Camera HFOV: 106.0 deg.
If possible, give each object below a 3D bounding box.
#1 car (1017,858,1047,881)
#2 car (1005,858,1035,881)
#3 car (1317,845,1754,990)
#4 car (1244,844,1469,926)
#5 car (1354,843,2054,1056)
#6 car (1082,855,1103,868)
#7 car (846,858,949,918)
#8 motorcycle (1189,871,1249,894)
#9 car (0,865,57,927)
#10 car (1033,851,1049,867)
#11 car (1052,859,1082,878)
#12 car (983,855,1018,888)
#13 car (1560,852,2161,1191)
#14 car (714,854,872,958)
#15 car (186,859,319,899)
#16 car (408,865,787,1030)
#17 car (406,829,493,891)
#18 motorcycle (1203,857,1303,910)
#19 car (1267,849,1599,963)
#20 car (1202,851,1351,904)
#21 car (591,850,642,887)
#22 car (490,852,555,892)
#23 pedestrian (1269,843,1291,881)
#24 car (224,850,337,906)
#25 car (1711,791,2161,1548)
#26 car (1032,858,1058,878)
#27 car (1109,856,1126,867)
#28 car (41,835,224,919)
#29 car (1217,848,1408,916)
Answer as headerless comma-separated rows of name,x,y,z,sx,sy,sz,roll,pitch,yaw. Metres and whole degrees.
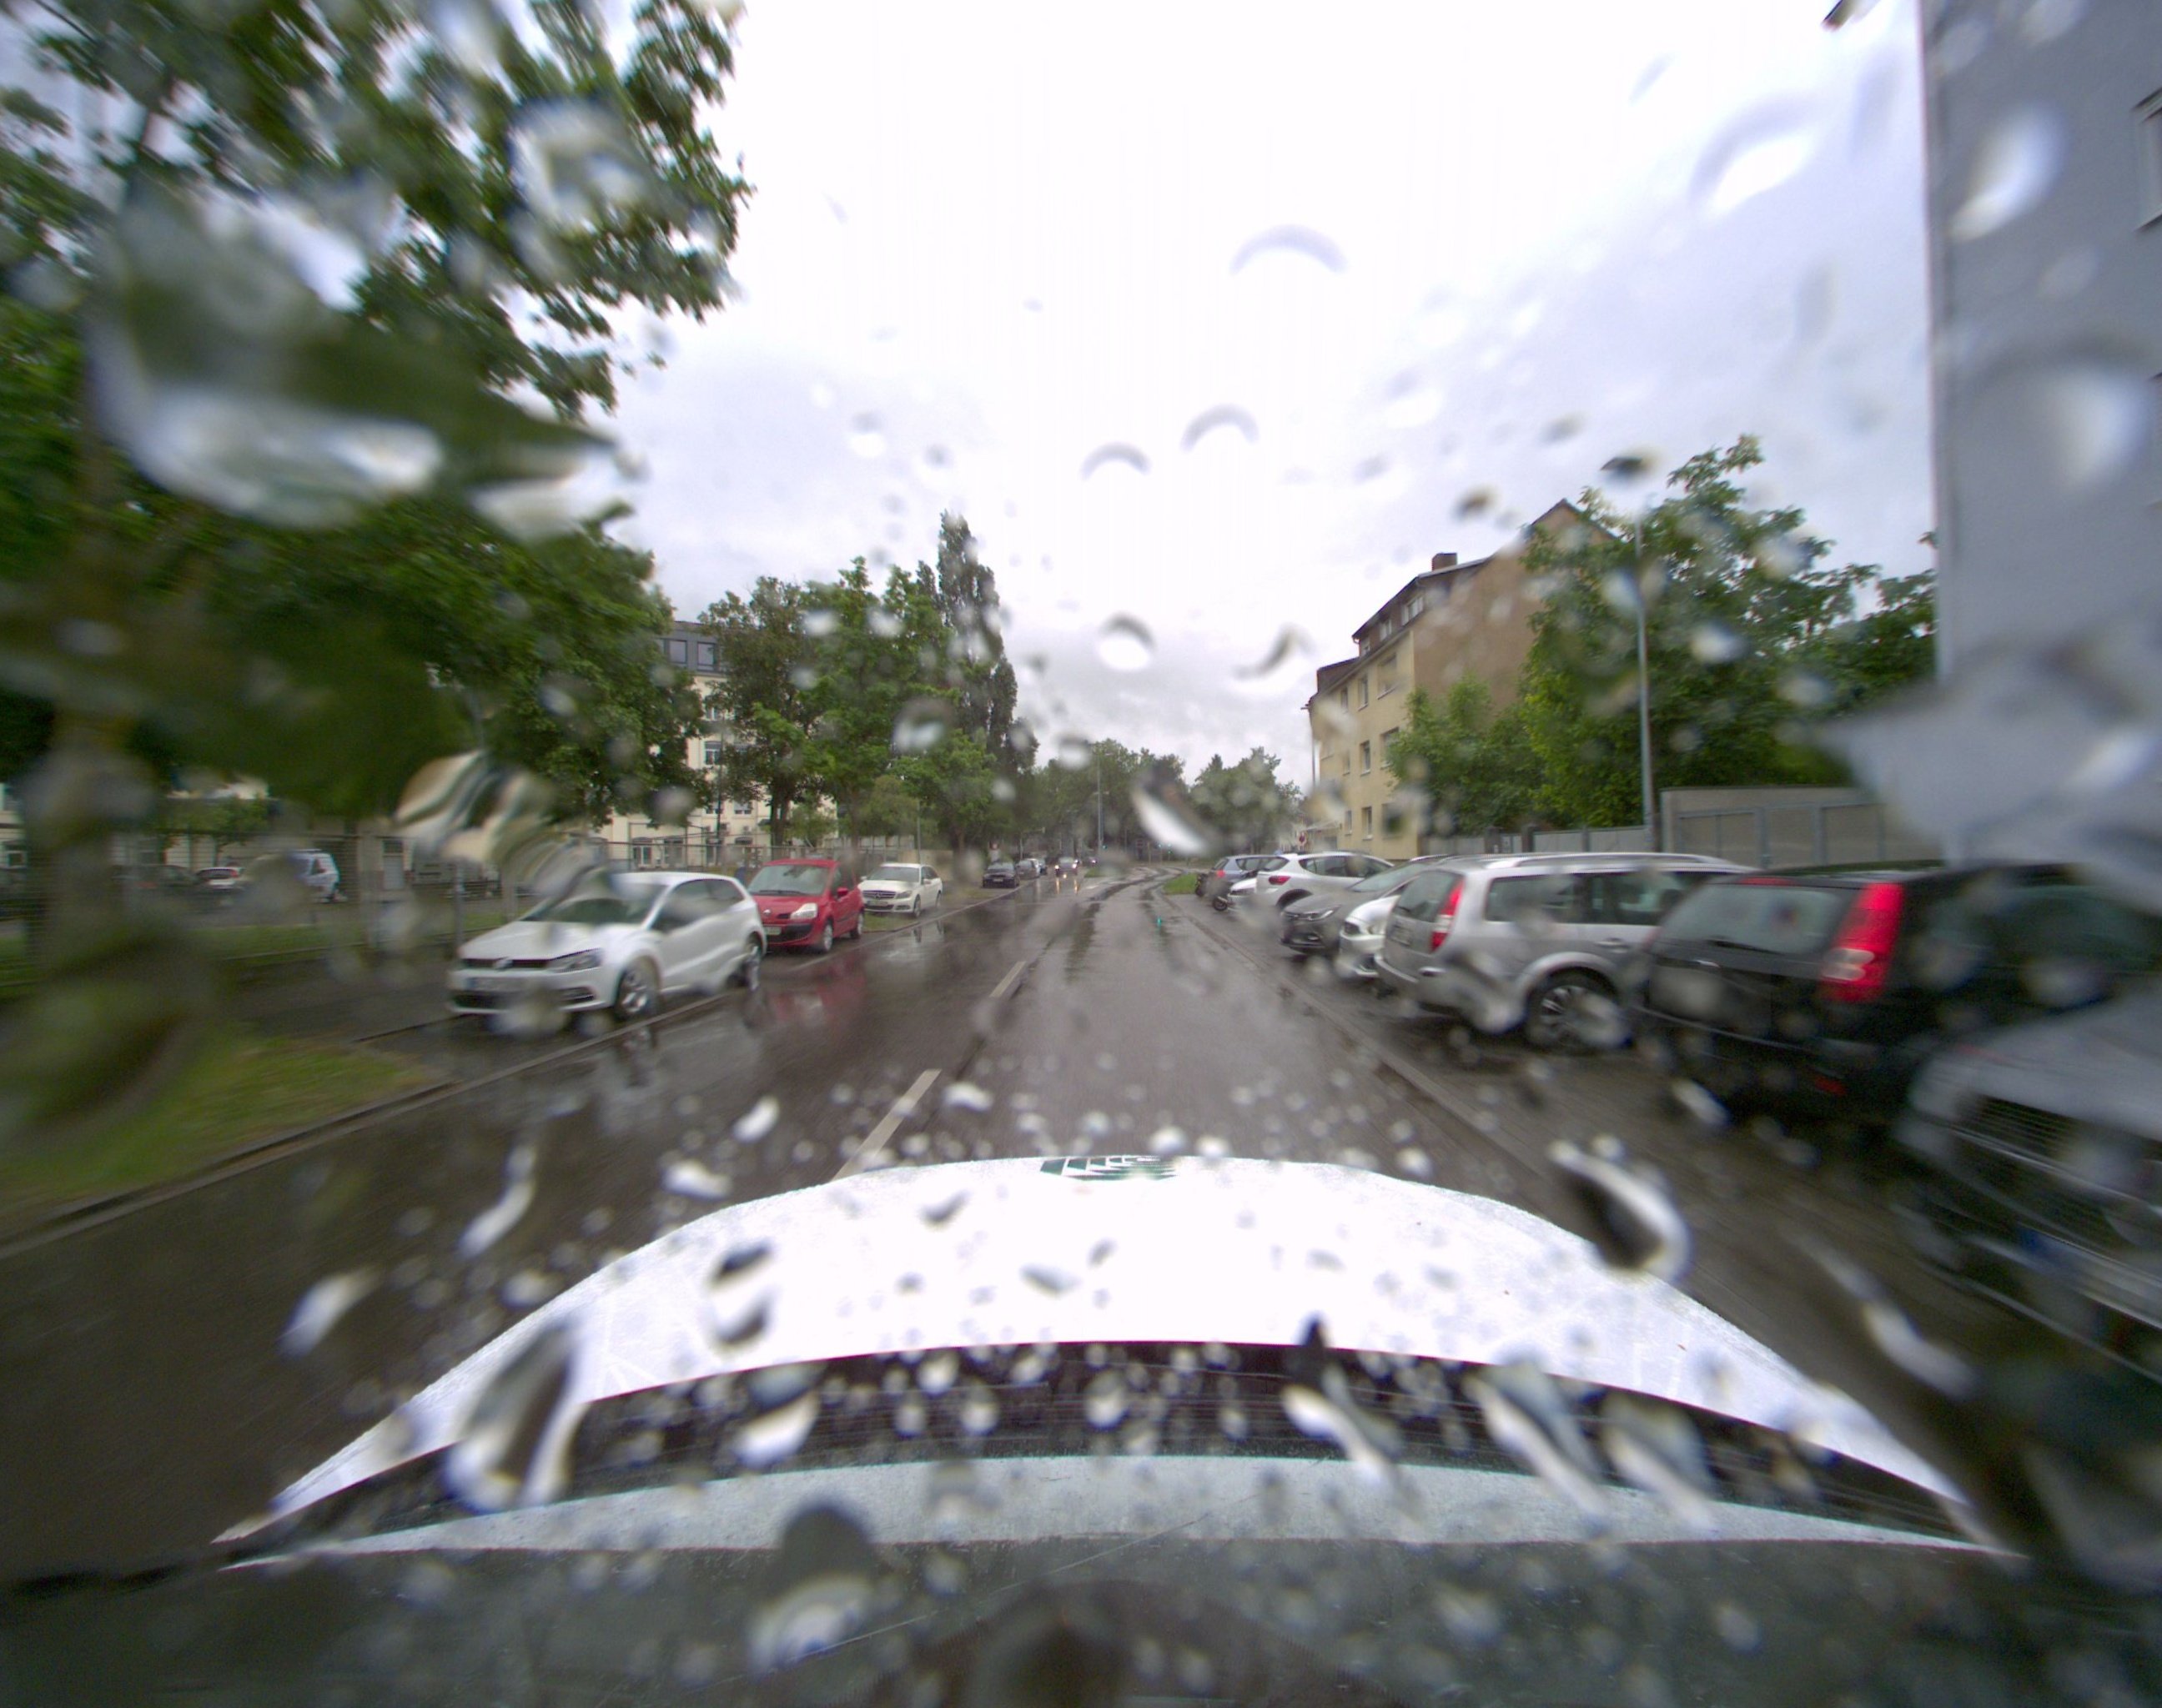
car,-3.835,1.198,64.318,1.918,1.731,4.004,-1,-1,4
car,-4.304,1.059,58.010,1.923,1.484,3.998,-2,0,-1
car,4.908,0.672,9.298,3.969,1.474,1.804,-1,-1,4
car,5.517,0.608,16.671,3.974,1.552,1.905,-1,-1,0
car,4.675,0.662,6.801,4.246,1.454,1.988,-1,1,7
car,1.548,1.029,112.147,1.744,1.689,3.978,0,-1,-16
car,-5.079,0.884,23.179,1.762,1.529,4.599,-1,-1,1
motorcycle,4.839,1.001,28.649,2.061,0.792,0.712,-1,0,8
car,-28.291,1.071,20.511,2.007,1.509,3.514,0,0,-31
car,-8.307,1.020,169.056,2.227,3.237,4.639,0,-1,-19
car,-1.096,1.153,65.930,1.984,1.486,4.004,-1,-1,4
car,-4.231,0.892,43.198,1.773,1.530,3.993,0,1,-5
car,5.095,0.713,4.371,3.972,1.412,1.846,-1,0,1
car,-5.047,0.827,14.855,1.621,1.598,4.195,0,-1,-4
car,-36.403,1.051,35.933,4.023,1.546,1.975,-2,1,-44
car,-5.159,0.877,9.485,1.653,1.460,4.179,-1,-1,5
car,-23.224,0.227,30.113,2.006,2.122,3.961,0,-1,-30
motorcycle,4.442,0.750,21.155,2.393,1.324,0.918,0,-1,-3
car,4.815,0.681,11.574,3.972,1.466,1.782,-1,0,1
car,5.670,0.670,24.007,3.971,1.461,1.935,-1,-1,2
car,-18.793,0.572,33.009,1.715,1.434,3.615,0,-1,-30
car,-21.296,0.654,31.171,1.715,1.434,3.615,0,-1,-30
pedestrian,10.480,0.420,42.828,1.002,2.014,0.957,-1,-1,19
car,-27.587,0.781,28.220,1.942,1.785,3.960,0,-1,-32
car,4.380,0.630,1.841,4.326,1.552,2.040,-1,-1,1
car,-3.279,1.275,74.587,1.918,1.731,4.004,0,-1,4
car,5.248,1.061,117.136,1.848,1.524,3.990,-1,0,-7
car,-25.068,0.560,21.737,2.007,2.014,3.960,0,-1,-31
car,5.371,0.635,19.227,3.976,1.490,1.861,0,-1,-2
